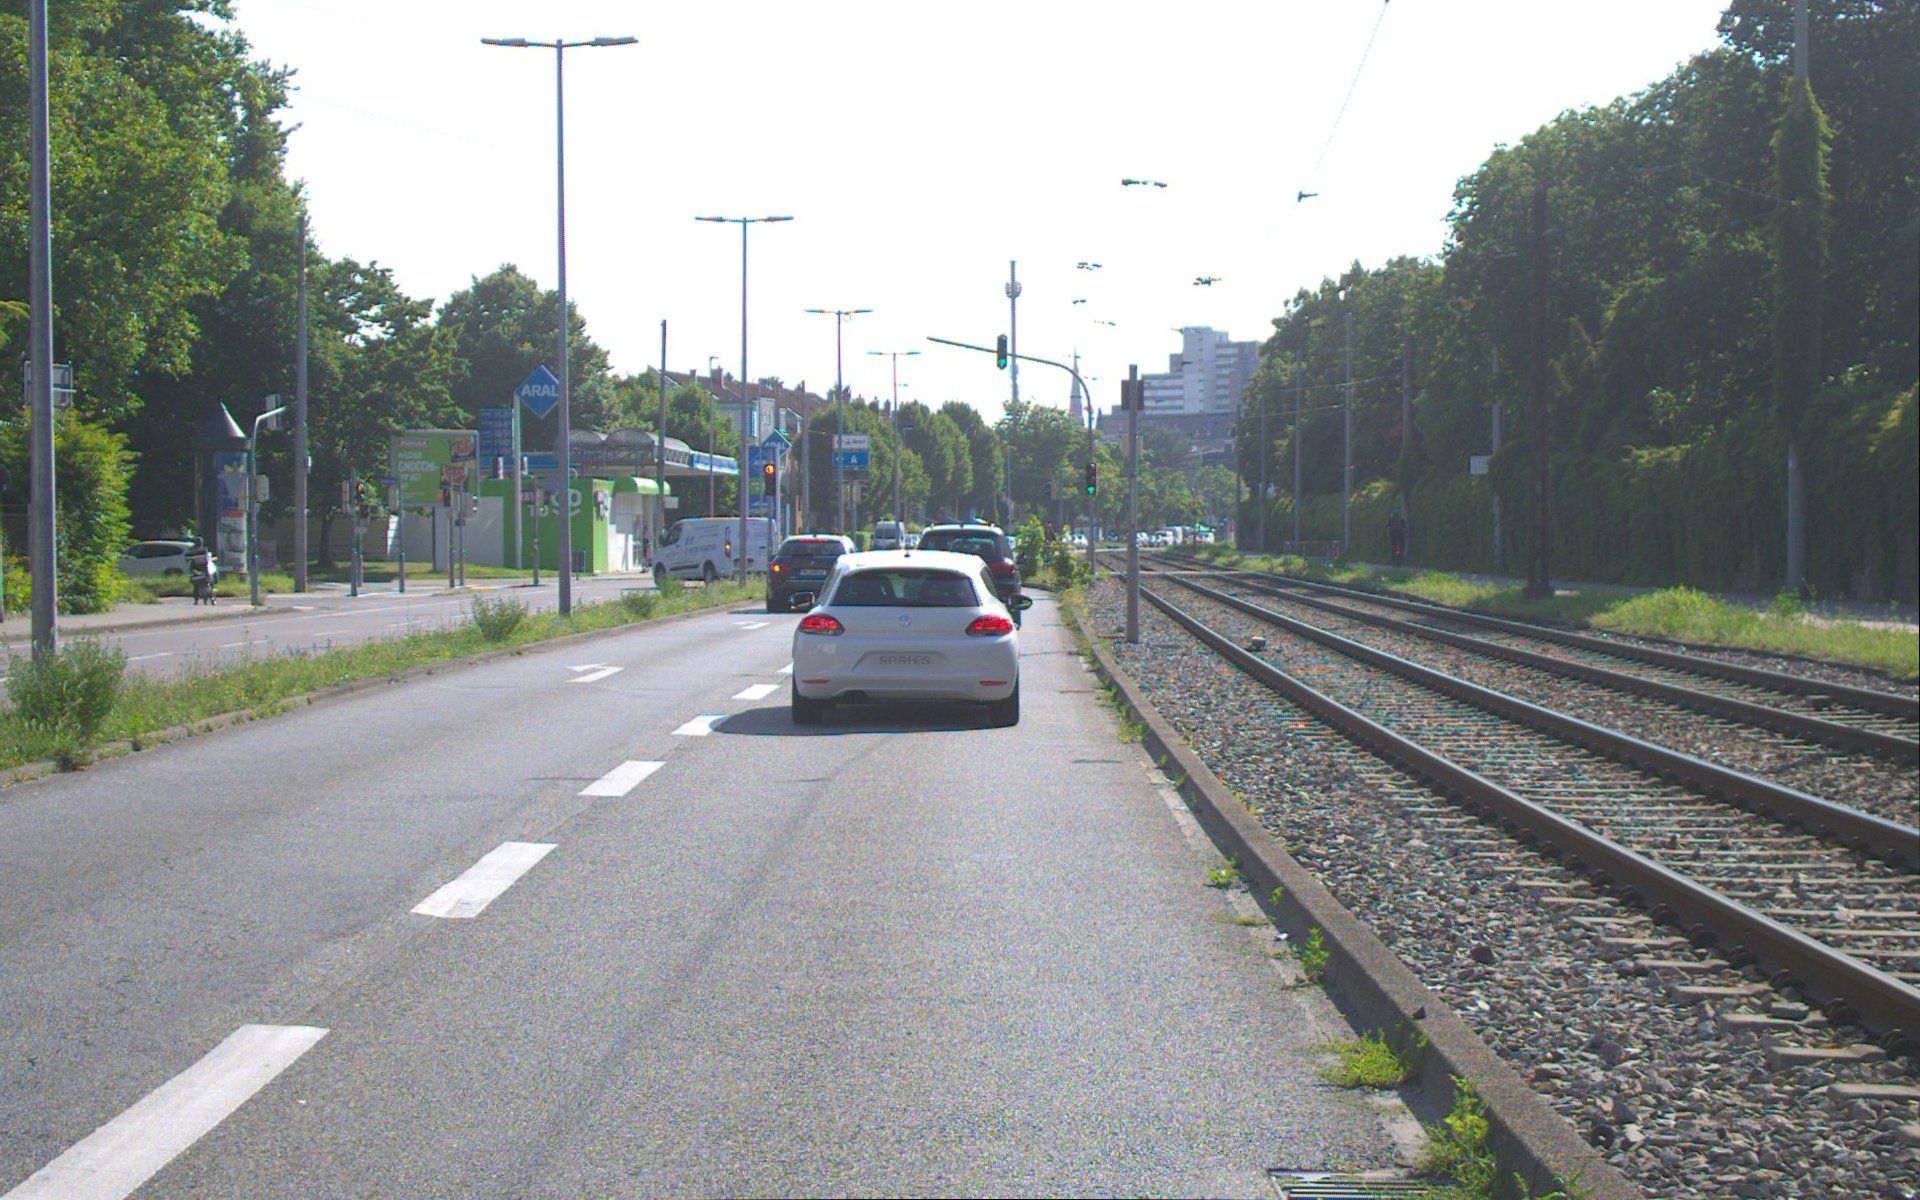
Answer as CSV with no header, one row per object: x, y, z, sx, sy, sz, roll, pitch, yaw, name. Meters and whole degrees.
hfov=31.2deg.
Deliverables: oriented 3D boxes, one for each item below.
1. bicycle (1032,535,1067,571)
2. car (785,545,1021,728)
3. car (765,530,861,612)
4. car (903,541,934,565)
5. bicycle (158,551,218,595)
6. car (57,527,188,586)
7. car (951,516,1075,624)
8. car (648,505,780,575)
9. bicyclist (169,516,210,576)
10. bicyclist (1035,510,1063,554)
2.940,-1.538,112.897,0.644,1.150,1.935,0,1,16,bicycle
-0.409,0.251,28.187,1.781,1.351,3.601,1,1,1,car
-2.833,-0.586,66.825,1.760,1.480,4.645,1,1,-2,car
-2.445,-2.817,204.988,1.653,1.390,4.134,0,1,2,car
-18.742,-0.657,83.563,0.662,1.046,2.580,0,1,5,bicycle
-26.554,-1.377,109.108,3.938,1.728,1.656,2,1,-11,car
0.805,-0.495,54.052,1.724,1.587,3.601,1,1,-2,car
-7.106,-1.725,99.028,1.818,1.956,4.402,-1,1,-35,car
-18.744,-1.322,83.630,0.662,1.447,1.051,0,1,5,bicyclist
2.930,-2.243,112.847,0.644,1.411,1.012,2,2,16,bicyclist
